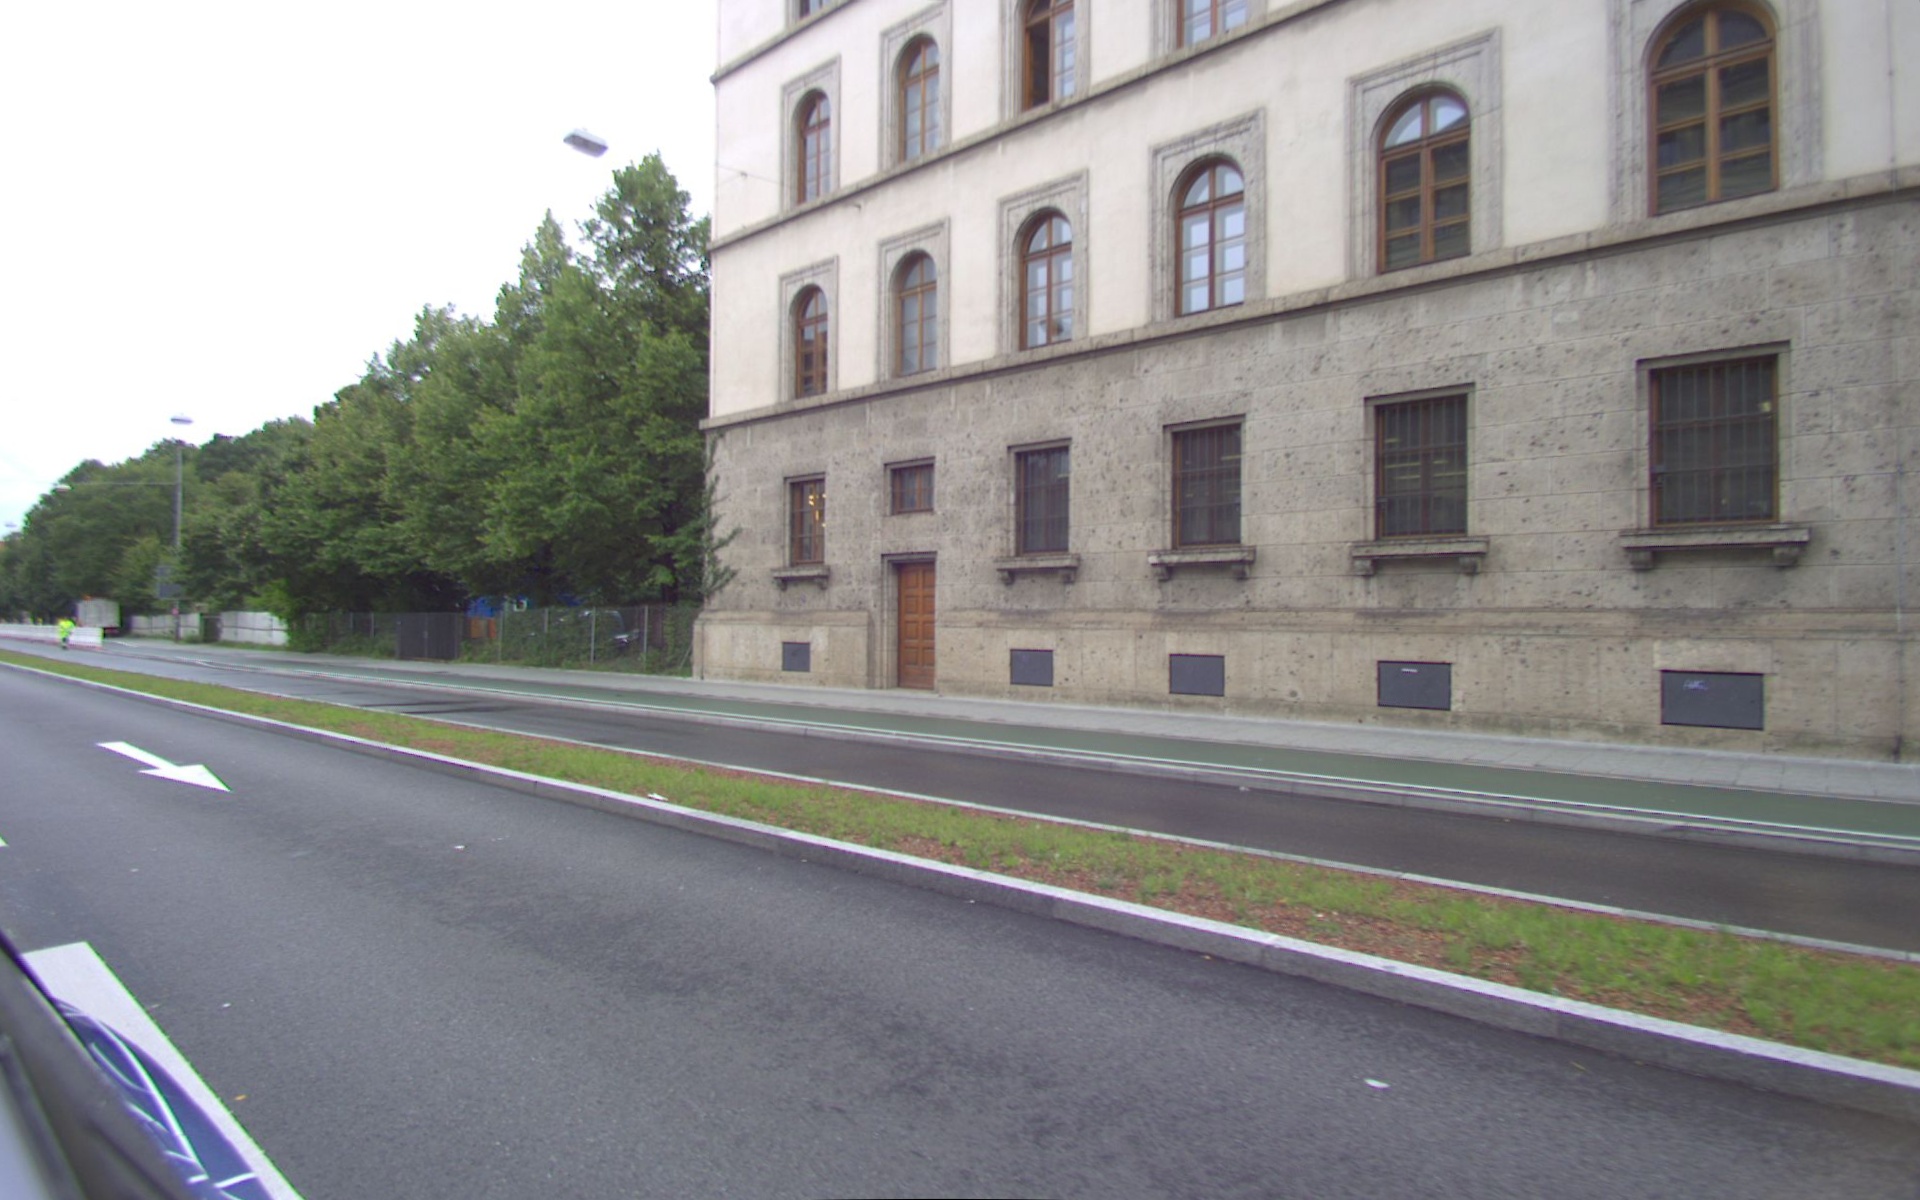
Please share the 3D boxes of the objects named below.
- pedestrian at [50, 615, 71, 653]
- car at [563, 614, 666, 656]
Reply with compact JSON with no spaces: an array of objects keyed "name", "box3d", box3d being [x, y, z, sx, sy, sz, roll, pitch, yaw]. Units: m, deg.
[{"name":"pedestrian","box3d":[-49.183,1.839,55.351,0.867,2.029,0.748,-1,-1,41]},{"name":"car","box3d":[-15.564,1.540,45.722,1.877,1.722,3.981,2,1,44]}]
